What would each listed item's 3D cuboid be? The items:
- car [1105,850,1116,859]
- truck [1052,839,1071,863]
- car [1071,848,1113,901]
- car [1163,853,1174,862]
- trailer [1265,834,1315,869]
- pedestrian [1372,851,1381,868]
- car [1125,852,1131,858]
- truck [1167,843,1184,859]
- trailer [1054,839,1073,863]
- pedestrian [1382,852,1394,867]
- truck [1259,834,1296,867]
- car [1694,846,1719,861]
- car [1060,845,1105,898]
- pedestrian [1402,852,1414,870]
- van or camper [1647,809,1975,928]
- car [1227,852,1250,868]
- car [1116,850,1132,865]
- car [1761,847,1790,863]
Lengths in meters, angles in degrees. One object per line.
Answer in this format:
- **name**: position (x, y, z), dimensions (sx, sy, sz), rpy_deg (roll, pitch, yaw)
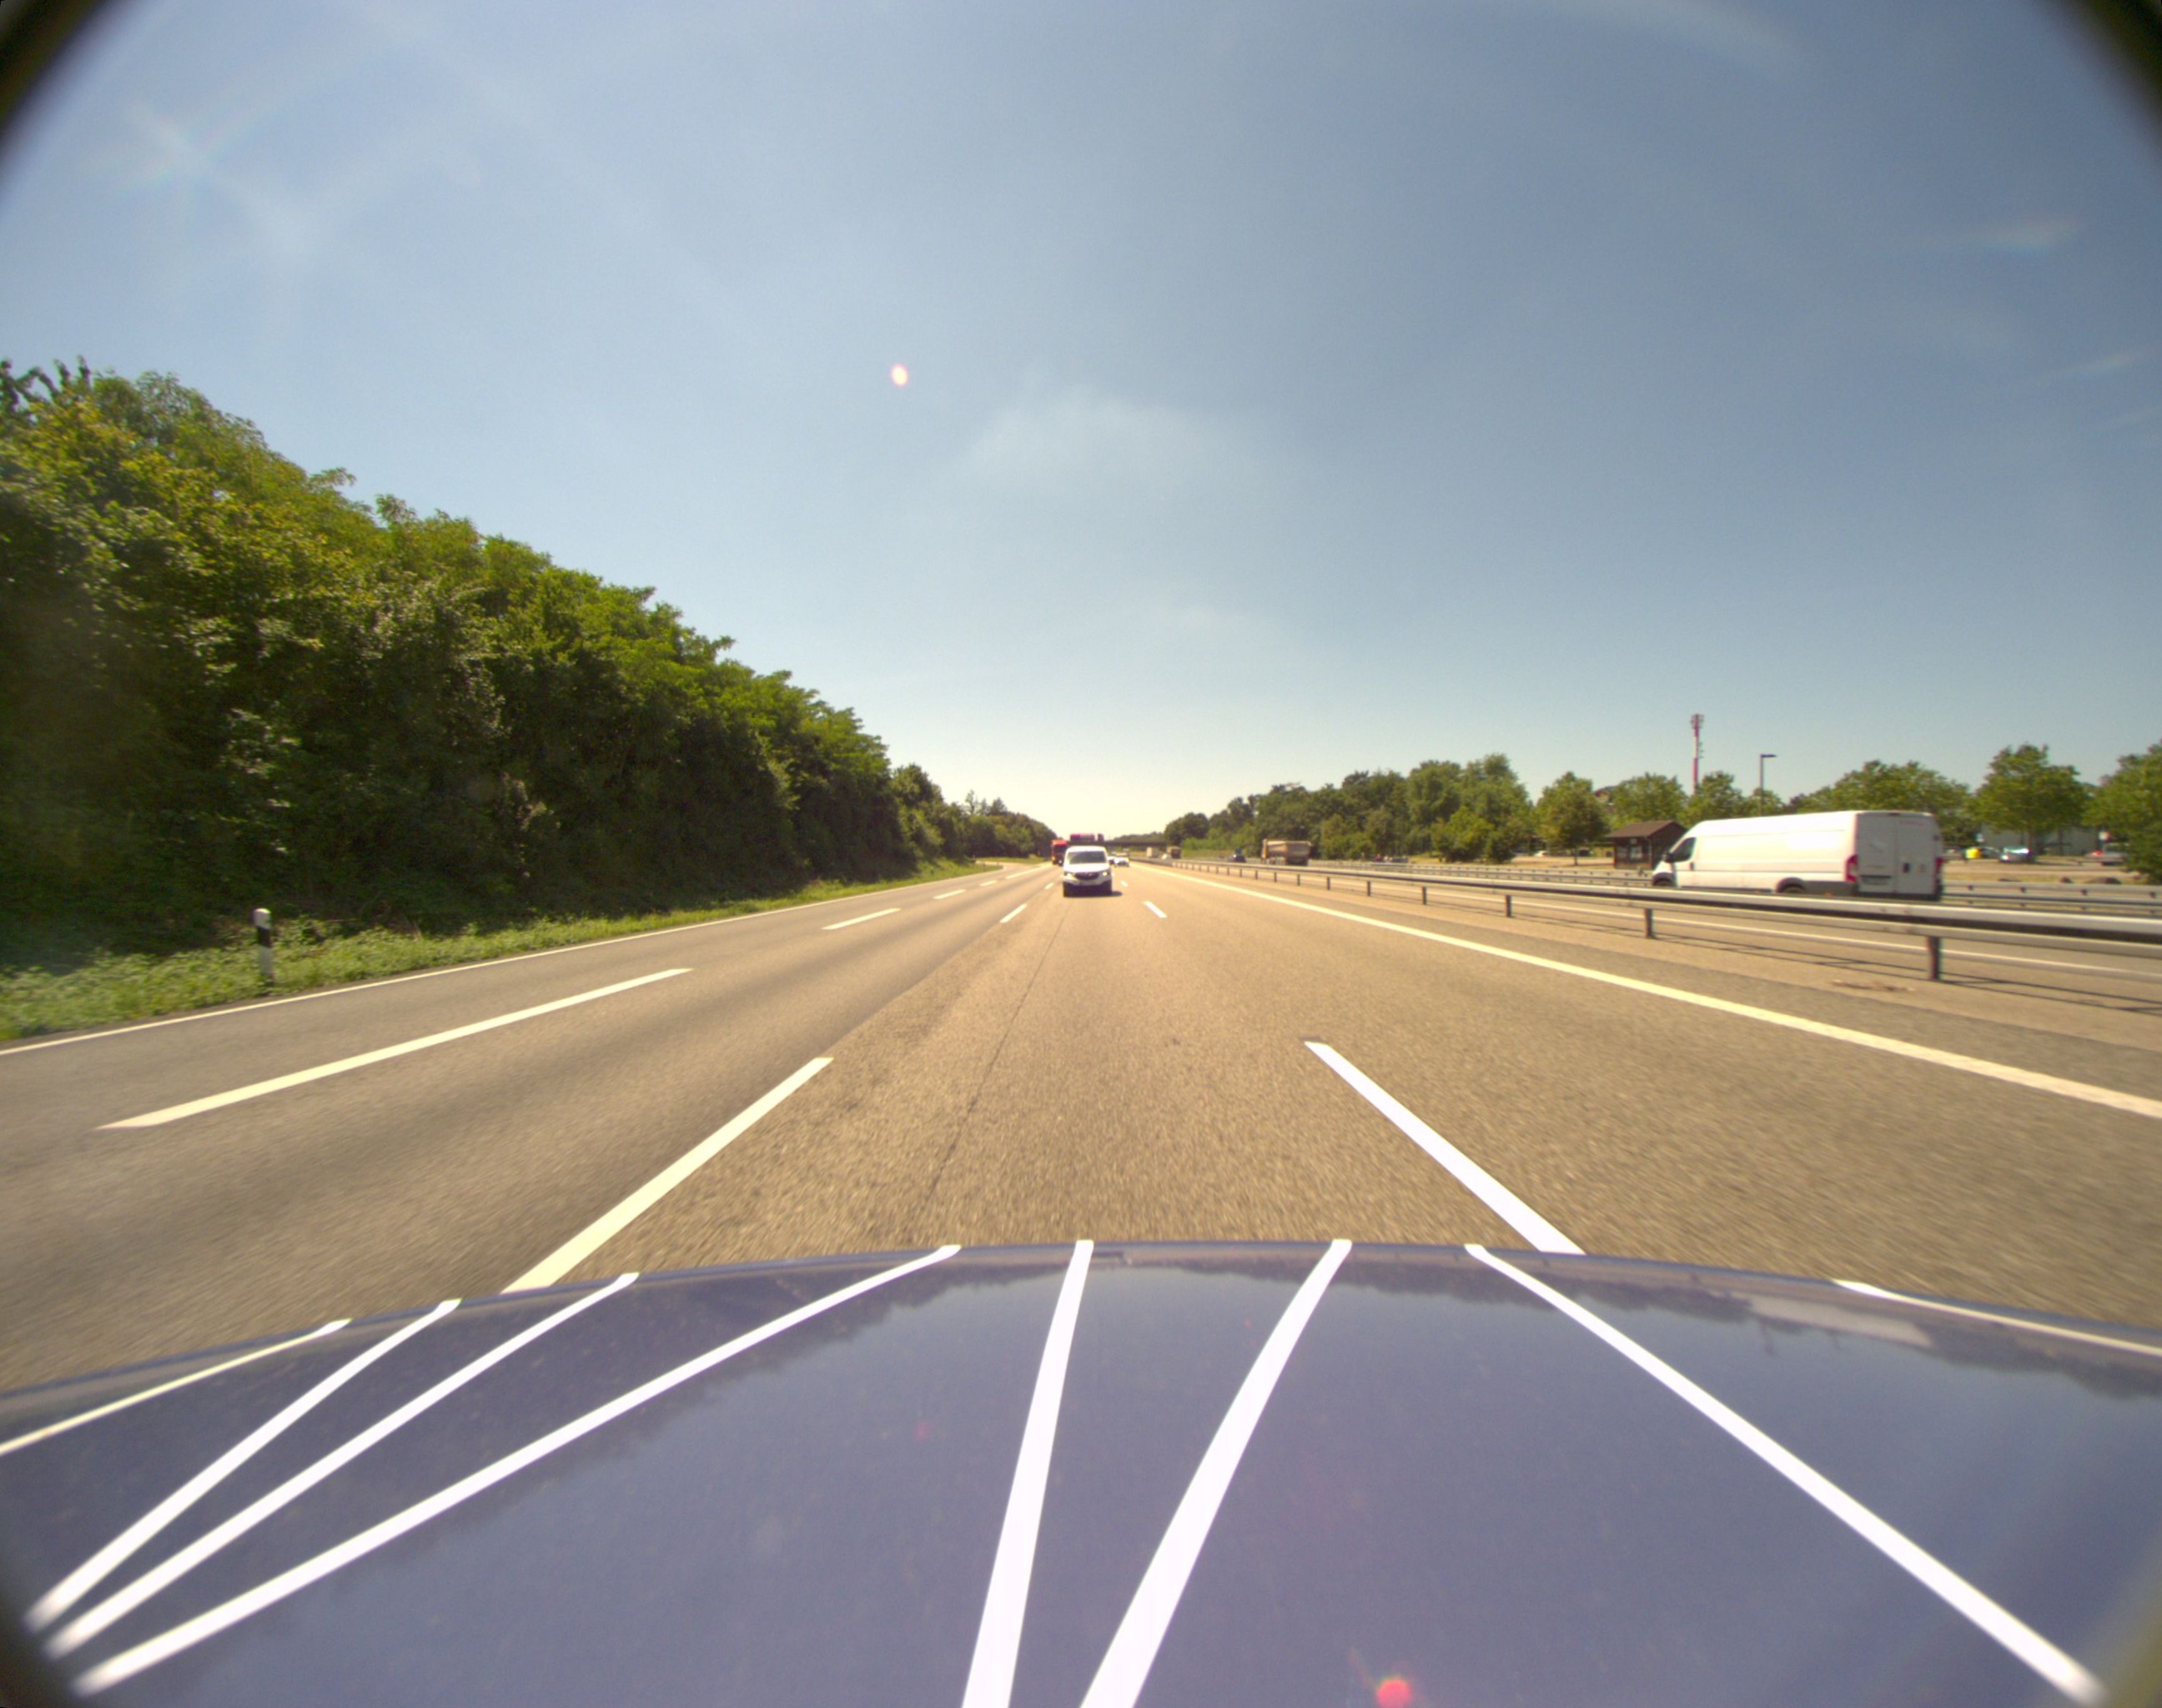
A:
- **car**: position (4.751, 0.034, 122.923), dimensions (1.775, 1.410, 3.401), rpy_deg (-2, 1, 2)
- **truck**: position (-3.019, -0.480, 118.355), dimensions (2.540, 3.656, 5.220), rpy_deg (-2, 1, 2)
- **car**: position (0.410, 0.693, 28.130), dimensions (1.413, 1.795, 3.200), rpy_deg (-2, 1, 1)
- **car**: position (18.756, 0.754, 163.184), dimensions (1.810, 1.703, 4.509), rpy_deg (-2, 1, 1)
- **trailer**: position (22.438, -0.313, 82.200), dimensions (2.789, 3.495, 9.369), rpy_deg (-2, 1, 1)
- **pedestrian**: position (29.752, 0.543, 76.468), dimensions (0.645, 1.598, 0.656), rpy_deg (-2, 1, 12)
- **car**: position (16.326, 0.427, 264.294), dimensions (1.971, 1.966, 3.982), rpy_deg (-2, 1, 1)
- **truck**: position (23.416, -0.709, 189.404), dimensions (2.872, 3.792, 11.489), rpy_deg (-2, 1, 1)
- **trailer**: position (-2.798, -0.541, 124.515), dimensions (2.540, 3.656, 7.845), rpy_deg (-2, 1, 2)
- **pedestrian**: position (30.720, 0.568, 76.009), dimensions (0.757, 1.509, 0.758), rpy_deg (-3, 1, -7)
- **truck**: position (22.523, -0.394, 87.386), dimensions (2.789, 3.495, 5.645), rpy_deg (-2, 1, 1)
- **car**: position (74.778, -0.051, 90.862), dimensions (3.117, 1.599, 1.494), rpy_deg (-3, 1, -34)
- **car**: position (0.062, 0.608, 28.311), dimensions (1.501, 1.799, 3.394), rpy_deg (-2, 1, 1)
- **pedestrian**: position (30.251, 0.652, 70.292), dimensions (0.677, 1.598, 0.875), rpy_deg (-3, 1, -6)
- **van or camper**: position (18.212, 0.282, 19.681), dimensions (2.424, 2.567, 6.366), rpy_deg (0, 1, 1)
- **car**: position (18.296, 0.721, 88.478), dimensions (1.750, 1.704, 4.484), rpy_deg (-2, 1, 1)
- **car**: position (4.816, 0.370, 84.948), dimensions (1.586, 1.497, 3.793), rpy_deg (-2, 1, 2)
- **car**: position (74.320, 0.091, 81.303), dimensions (3.444, 1.599, 1.557), rpy_deg (-3, 1, -34)
